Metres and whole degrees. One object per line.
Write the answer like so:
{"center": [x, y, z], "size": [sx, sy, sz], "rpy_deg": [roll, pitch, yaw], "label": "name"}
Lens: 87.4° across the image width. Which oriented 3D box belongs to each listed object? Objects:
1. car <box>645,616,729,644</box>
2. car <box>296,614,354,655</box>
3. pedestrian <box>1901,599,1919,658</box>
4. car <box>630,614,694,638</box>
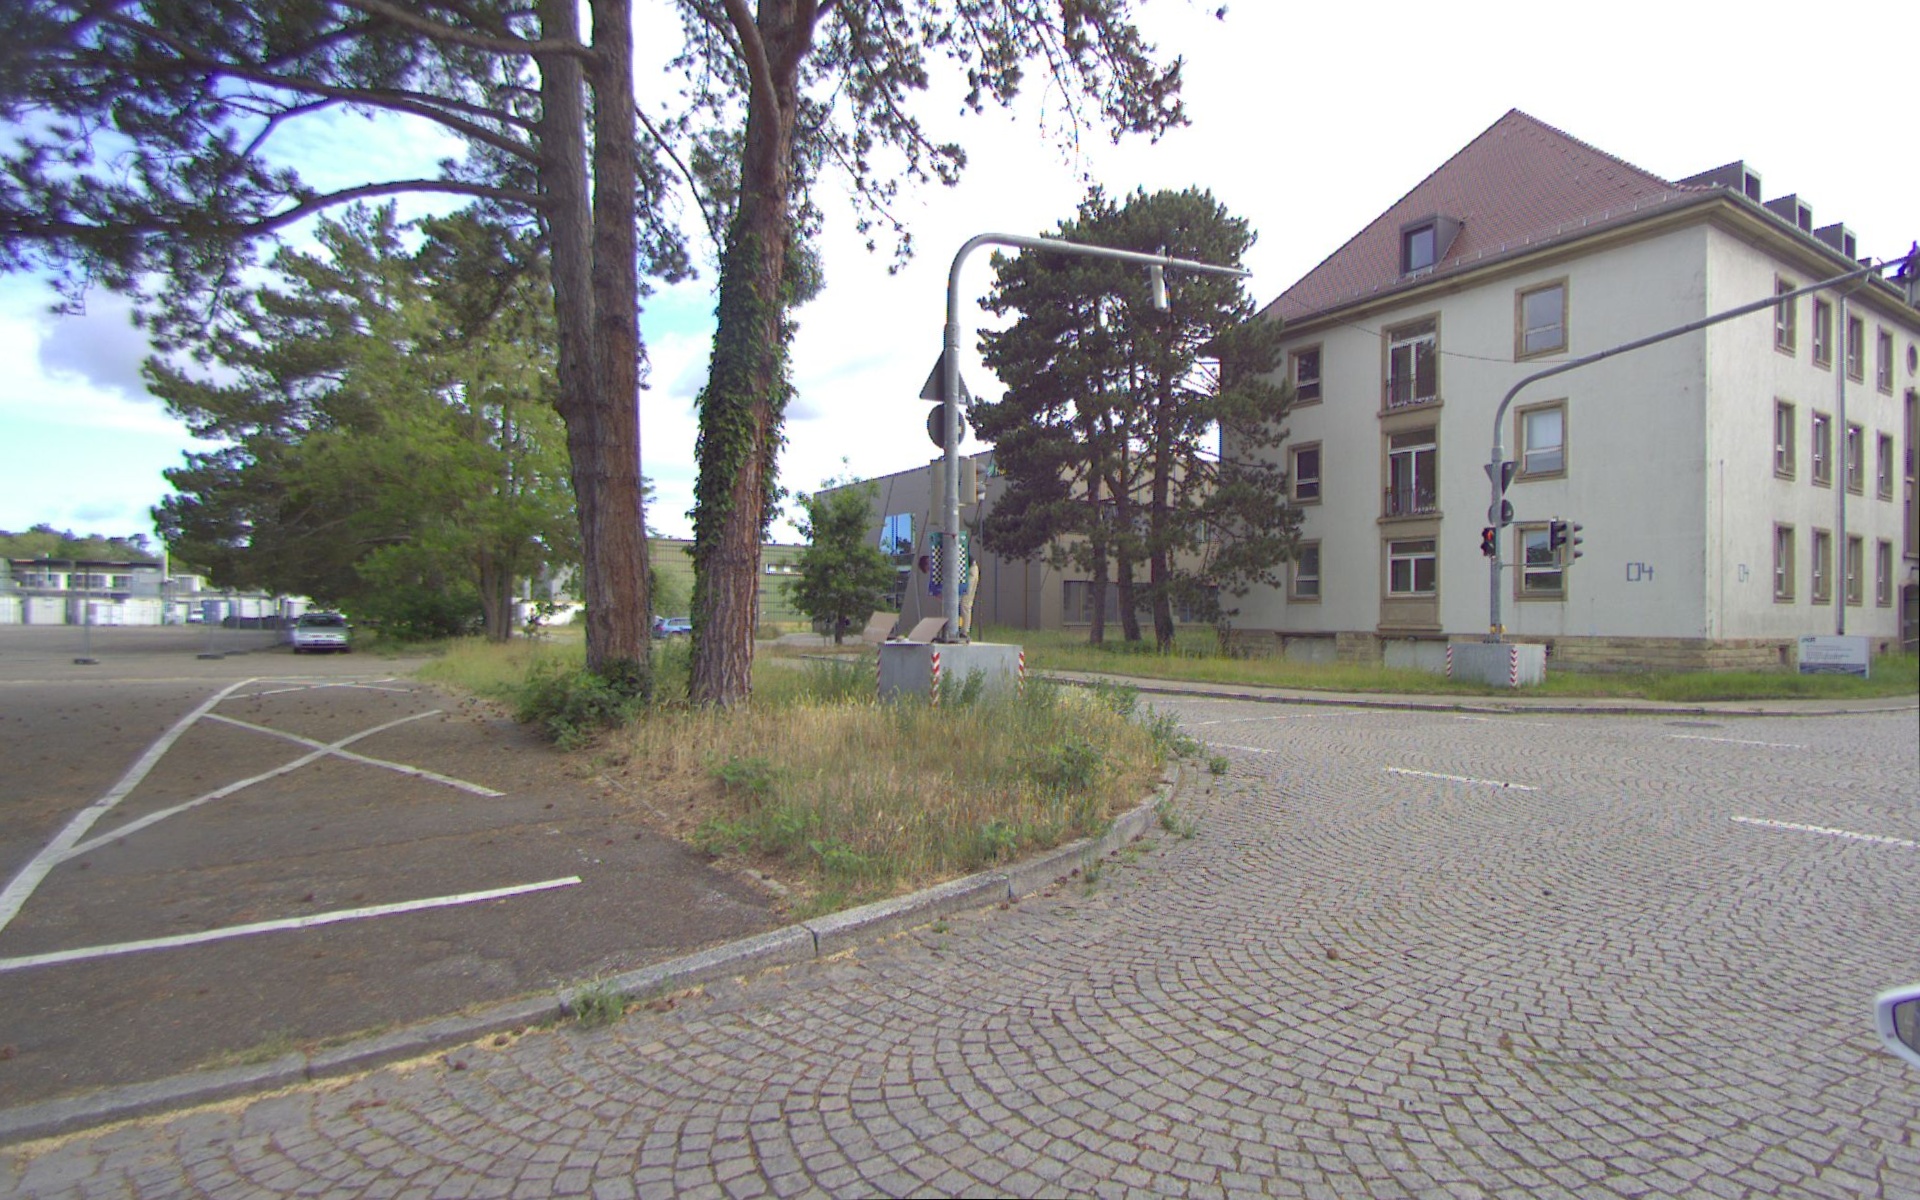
{"center": [-16.024, 1.744, 59.086], "size": [4.409, 1.449, 1.983], "rpy_deg": [-1, 0, -32], "label": "car"}
{"center": [-23.257, 1.226, 36.727], "size": [1.680, 1.410, 3.962], "rpy_deg": [1, -1, -34], "label": "car"}
{"center": [33.653, 1.008, 34.930], "size": [1.009, 2.040, 1.083], "rpy_deg": [1, -1, -27], "label": "pedestrian"}
{"center": [-19.494, 1.695, 65.643], "size": [3.618, 1.449, 1.983], "rpy_deg": [-1, 0, -32], "label": "car"}
